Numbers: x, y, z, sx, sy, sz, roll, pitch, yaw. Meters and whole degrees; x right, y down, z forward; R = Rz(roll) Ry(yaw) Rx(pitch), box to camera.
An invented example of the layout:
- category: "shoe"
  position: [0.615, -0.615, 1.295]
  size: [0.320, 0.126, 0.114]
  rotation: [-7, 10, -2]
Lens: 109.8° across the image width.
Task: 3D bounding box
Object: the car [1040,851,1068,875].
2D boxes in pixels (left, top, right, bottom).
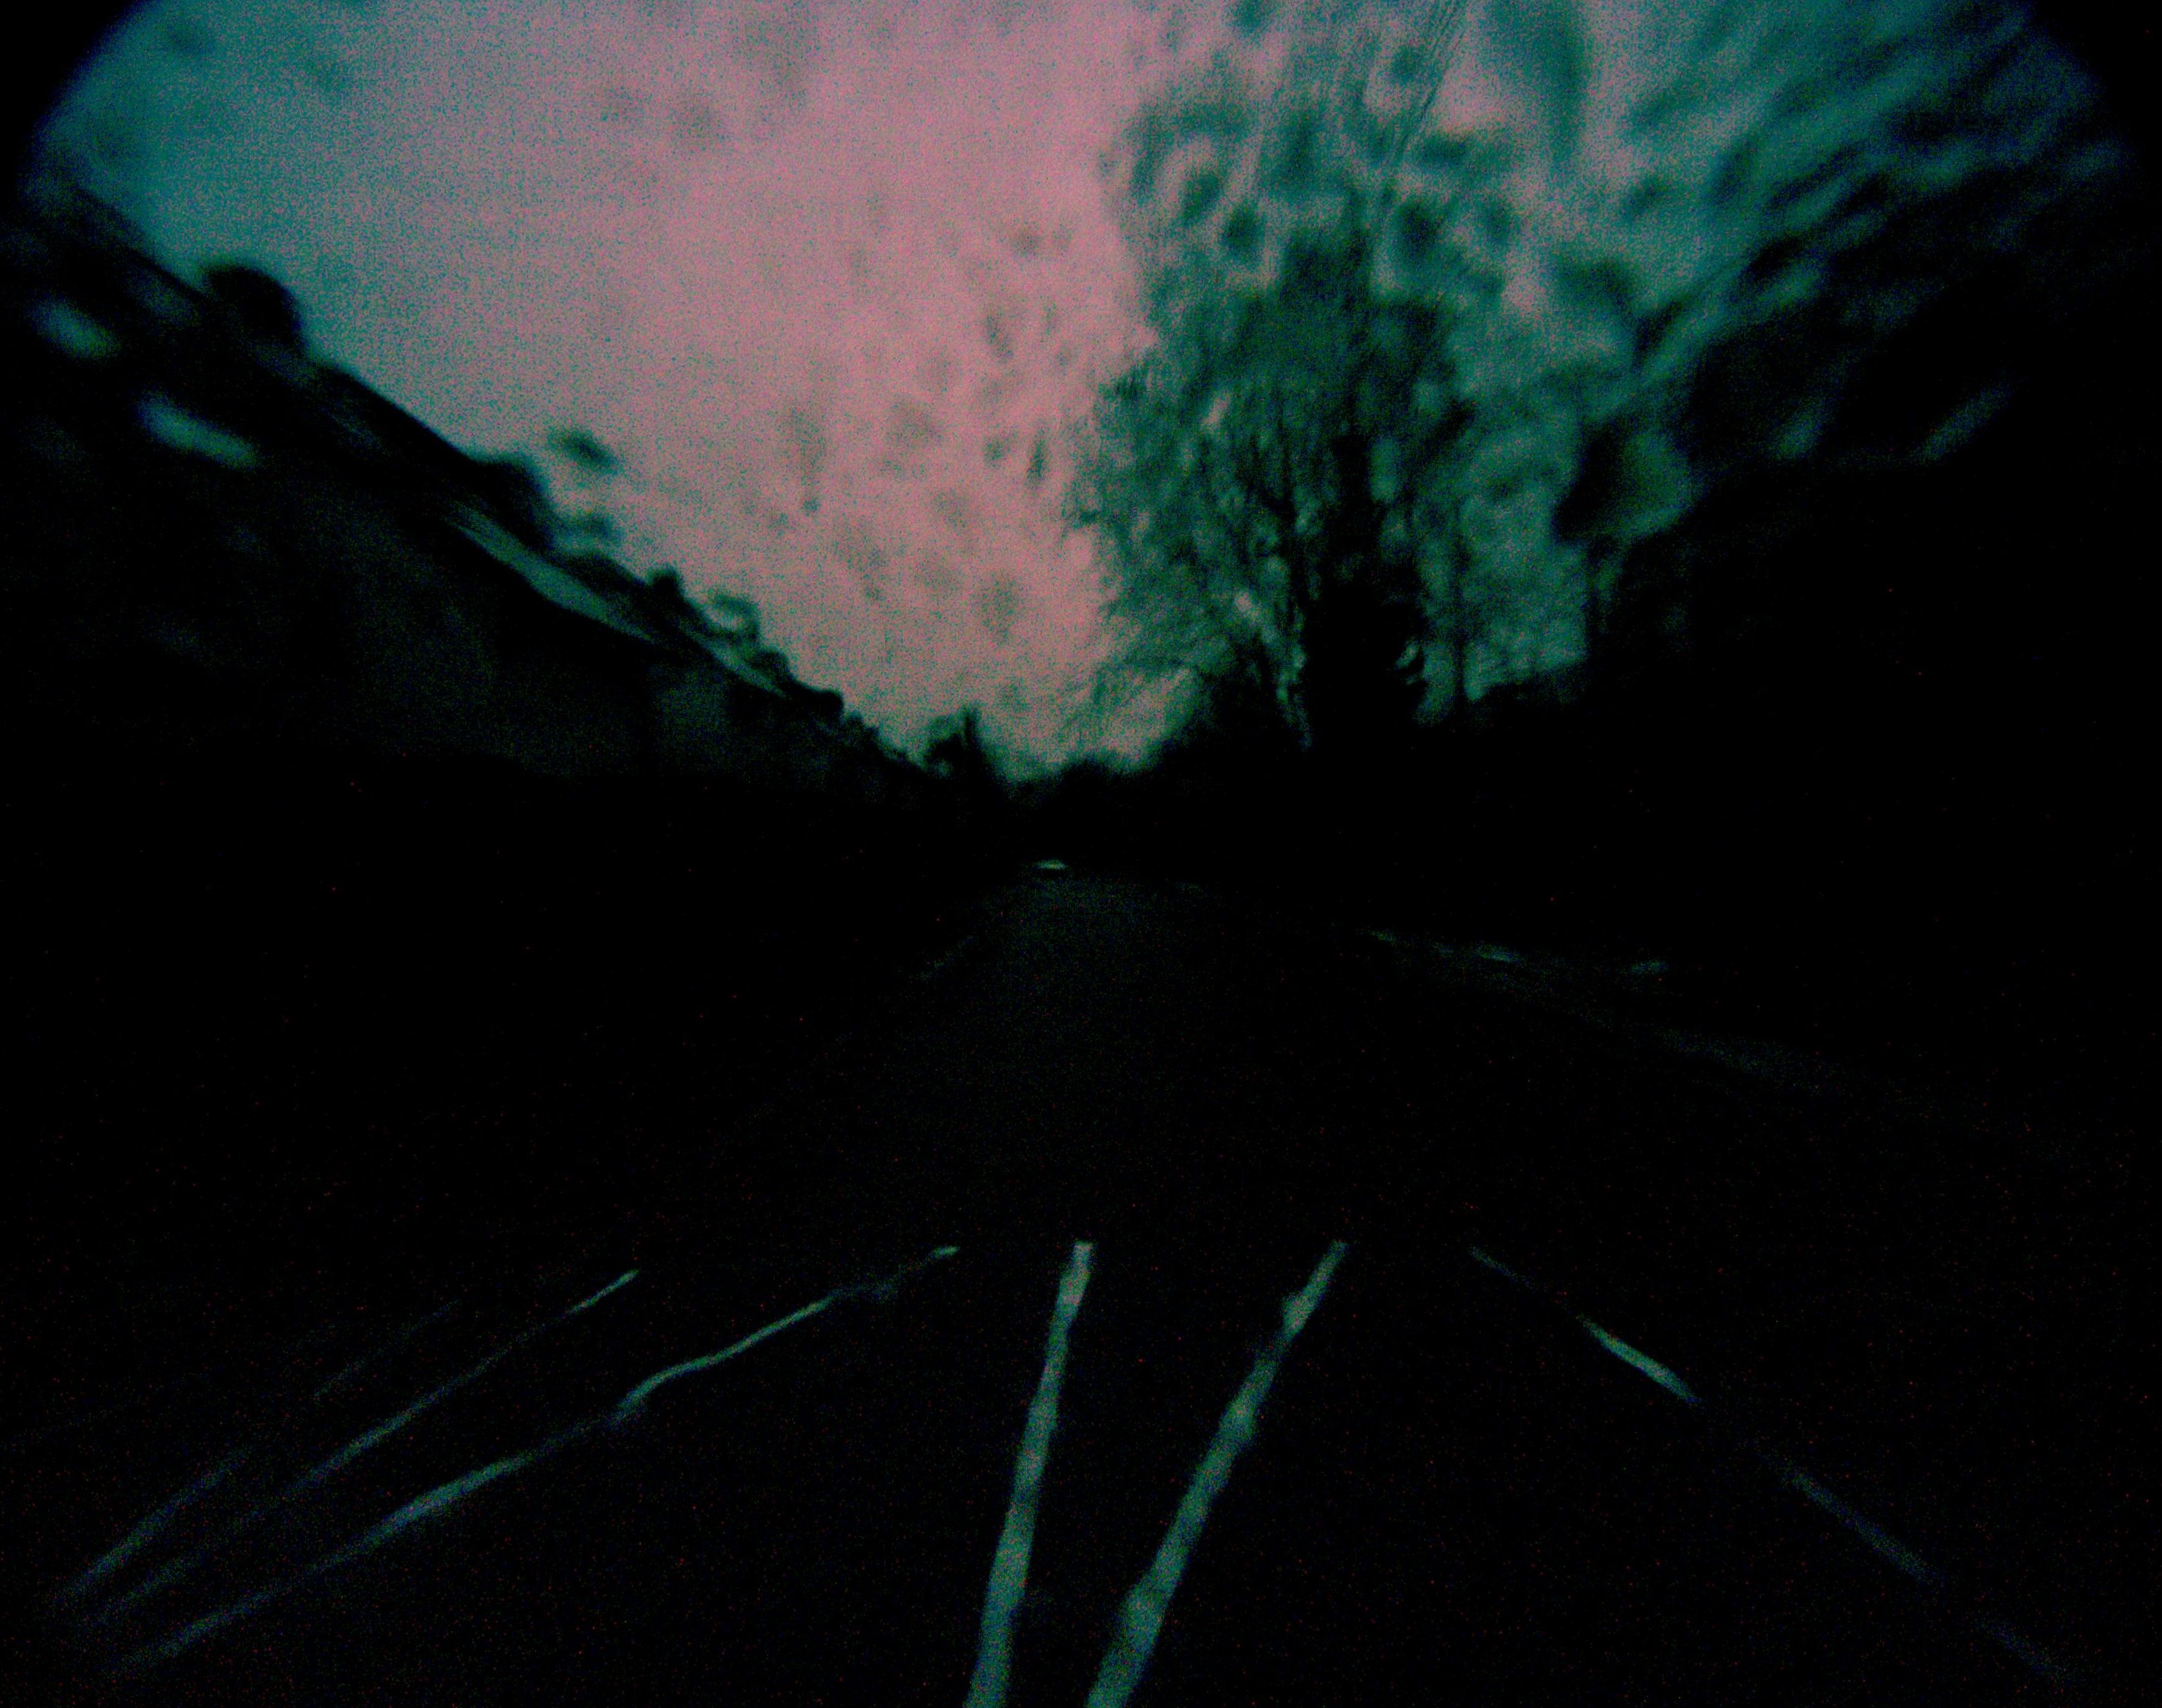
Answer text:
- category: "car"
  position: [-1.972, 0.609, 54.269]
  size: [1.709, 1.497, 4.022]
  rotation: [-2, 1, -6]
